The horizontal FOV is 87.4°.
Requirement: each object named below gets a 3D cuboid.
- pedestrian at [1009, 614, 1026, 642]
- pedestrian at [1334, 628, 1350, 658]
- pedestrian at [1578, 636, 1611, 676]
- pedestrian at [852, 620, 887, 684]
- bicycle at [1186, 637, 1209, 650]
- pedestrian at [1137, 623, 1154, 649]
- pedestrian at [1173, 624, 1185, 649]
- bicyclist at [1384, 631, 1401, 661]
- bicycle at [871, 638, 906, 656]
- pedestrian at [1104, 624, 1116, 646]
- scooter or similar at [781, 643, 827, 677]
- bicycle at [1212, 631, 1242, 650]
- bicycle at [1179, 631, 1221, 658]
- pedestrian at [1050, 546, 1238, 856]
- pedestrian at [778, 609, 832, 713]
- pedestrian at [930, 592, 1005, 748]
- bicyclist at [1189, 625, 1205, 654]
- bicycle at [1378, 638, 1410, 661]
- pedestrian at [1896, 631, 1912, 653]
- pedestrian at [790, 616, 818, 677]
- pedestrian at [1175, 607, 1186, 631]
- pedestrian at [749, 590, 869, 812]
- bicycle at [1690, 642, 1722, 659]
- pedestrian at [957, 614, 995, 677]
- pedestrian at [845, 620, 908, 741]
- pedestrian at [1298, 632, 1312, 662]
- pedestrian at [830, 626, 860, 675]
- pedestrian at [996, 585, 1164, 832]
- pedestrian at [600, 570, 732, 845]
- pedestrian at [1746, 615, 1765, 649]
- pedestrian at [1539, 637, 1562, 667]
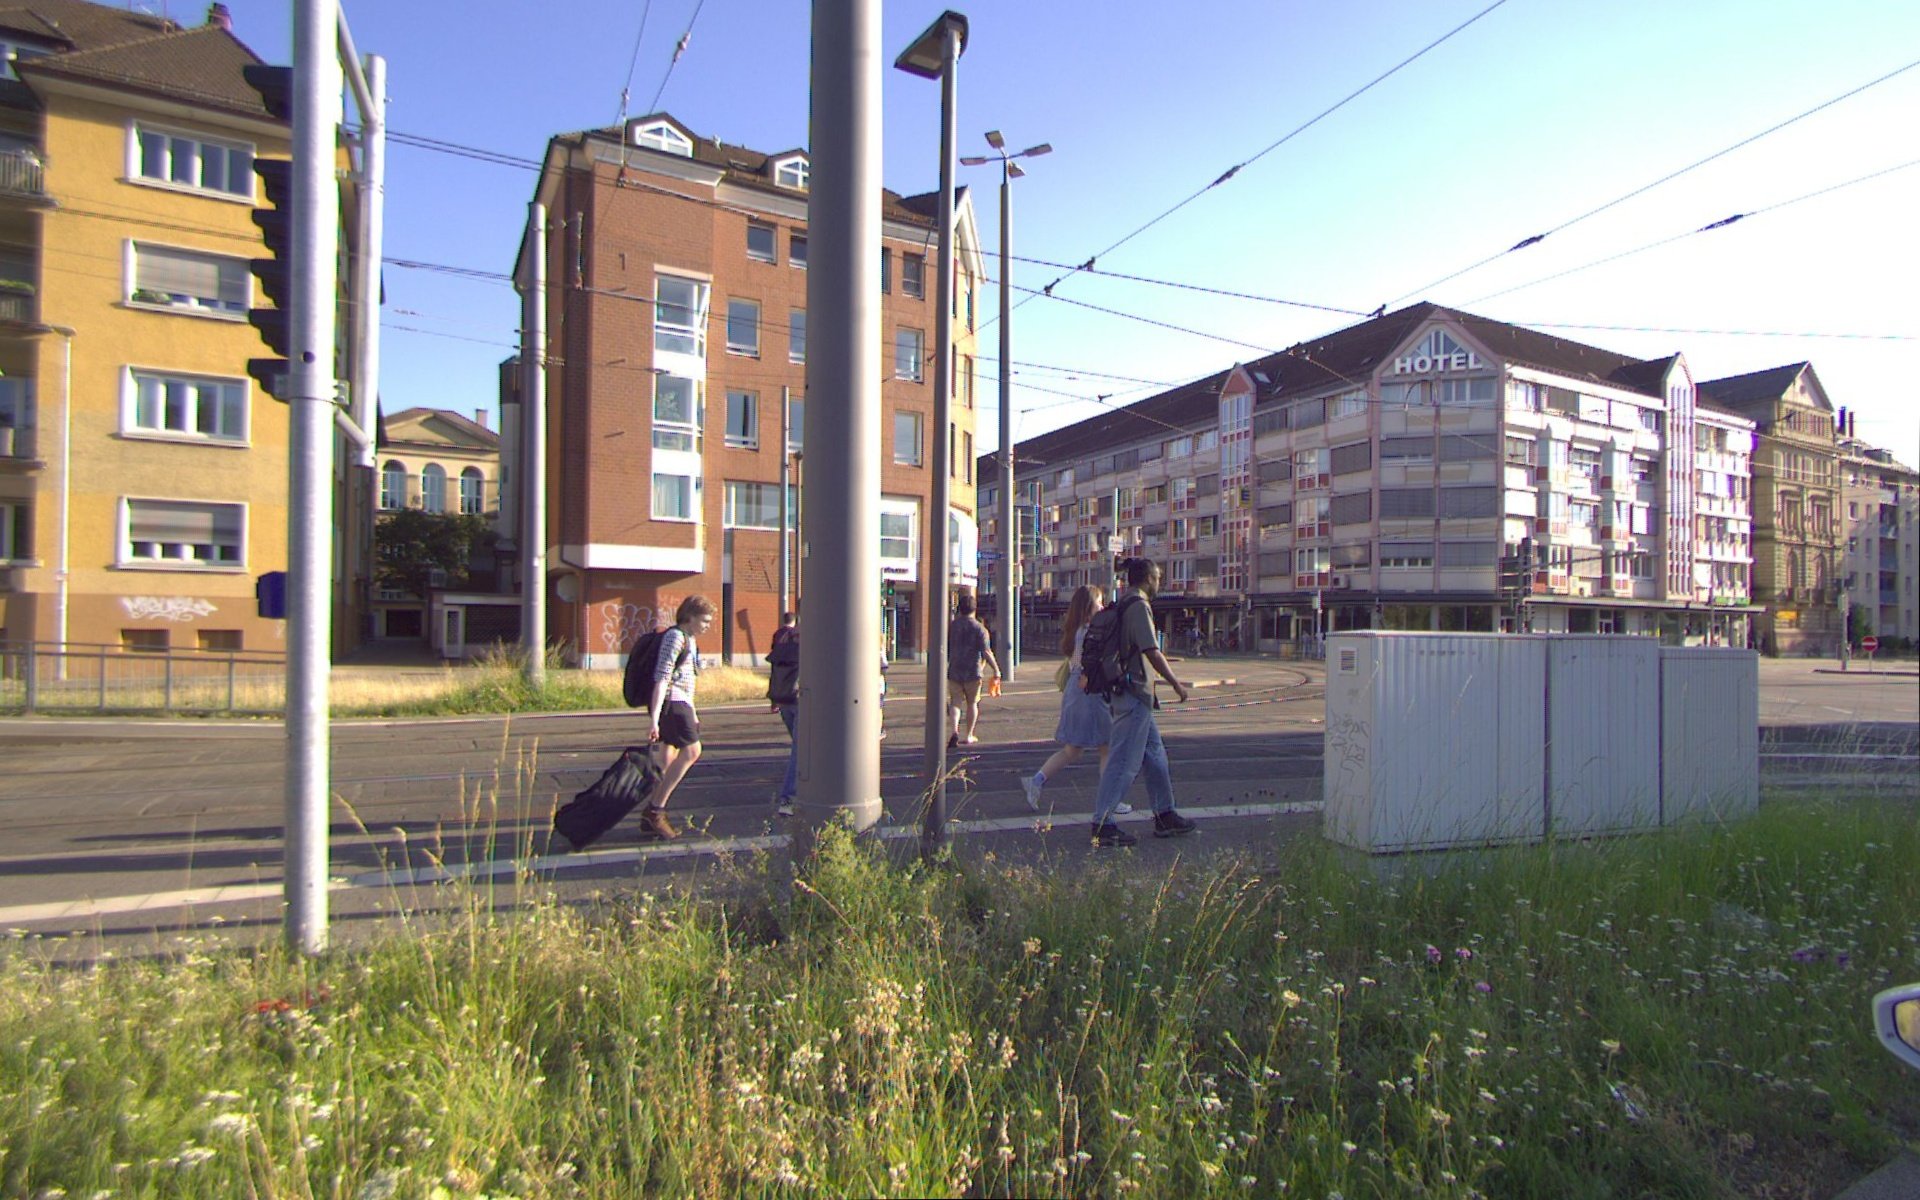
[{"bbox_3d":[3.550,1.722,62.258,0.773,1.682,0.677,2,0,-35],"label":"pedestrian"},{"bbox_3d":[22.561,2.533,59.327,0.503,1.788,1.001,2,0,40],"label":"pedestrian"},{"bbox_3d":[32.655,2.890,51.724,0.847,1.909,1.187,-6,4,-34],"label":"pedestrian"},{"bbox_3d":[-2.344,1.332,26.092,0.825,1.605,0.683,2,0,-3],"label":"pedestrian"},{"bbox_3d":[17.088,3.123,72.270,0.494,0.929,2.066,2,-2,-24],"label":"bicycle"},{"bbox_3d":[11.871,2.313,64.419,0.773,1.682,0.677,2,0,-35],"label":"pedestrian"},{"bbox_3d":[16.635,2.756,76.419,0.601,1.877,0.601,2,0,-20],"label":"pedestrian"},{"bbox_3d":[24.044,2.538,55.853,0.649,1.618,0.636,-1,1,-26],"label":"bicyclist"},{"bbox_3d":[-3.914,2.583,55.019,1.813,0.974,0.540,1,1,-27],"label":"bicycle"},{"bbox_3d":[12.528,2.892,83.890,0.804,1.802,0.680,2,0,0],"label":"pedestrian"},{"bbox_3d":[-4.863,1.880,31.285,1.311,1.019,0.484,2,0,-23],"label":"scooter or similar"},{"bbox_3d":[18.457,2.819,69.585,0.720,1.243,2.319,2,-2,-24],"label":"bicycle"},{"bbox_3d":[12.572,2.326,52.681,2.055,1.385,0.584,0,1,24],"label":"bicycle"},{"bbox_3d":[1.176,0.597,6.488,0.889,1.825,0.781,0,1,-30],"label":"pedestrian"},{"bbox_3d":[-2.470,0.957,15.988,0.775,1.609,0.607,2,0,-12],"label":"pedestrian"},{"bbox_3d":[0.104,0.816,12.092,0.760,1.781,0.900,2,0,6],"label":"pedestrian"},{"bbox_3d":[12.446,2.068,52.738,0.724,1.501,0.566,0,1,22],"label":"bicyclist"},{"bbox_3d":[24.176,2.765,55.928,1.746,1.160,0.636,-1,1,-27],"label":"bicycle"},{"bbox_3d":[75.575,3.397,80.407,0.715,1.717,0.692,2,0,-30],"label":"pedestrian"},{"bbox_3d":[-4.858,1.452,31.314,0.713,1.872,0.559,2,0,-23],"label":"pedestrian"},{"bbox_3d":[16.138,1.401,73.584,0.598,1.655,0.604,5,-6,16],"label":"pedestrian"},{"bbox_3d":[-1.139,0.710,7.513,0.612,1.556,0.782,2,0,-30],"label":"pedestrian"},{"bbox_3d":[48.489,3.292,65.273,2.056,1.085,0.451,2,0,-13],"label":"bicycle"},{"bbox_3d":[0.453,1.297,29.125,0.824,1.781,0.687,2,0,-44],"label":"pedestrian"},{"bbox_3d":[-1.007,0.957,12.166,0.584,1.378,0.608,3,1,8],"label":"pedestrian"},{"bbox_3d":[20.292,2.762,59.050,0.612,1.717,0.866,2,0,29],"label":"pedestrian"},{"bbox_3d":[-3.885,1.703,33.942,0.830,1.605,0.680,2,0,-23],"label":"pedestrian"},{"bbox_3d":[0.865,0.737,7.319,0.890,1.662,0.781,2,0,-32],"label":"pedestrian"},{"bbox_3d":[-1.932,0.657,6.570,0.612,1.662,0.781,2,0,-32],"label":"pedestrian"},{"bbox_3d":[57.854,2.314,73.047,0.953,2.430,0.918,2,0,-40],"label":"pedestrian"},{"bbox_3d":[29.880,2.641,50.842,0.847,1.472,0.700,2,0,-34],"label":"pedestrian"}]
